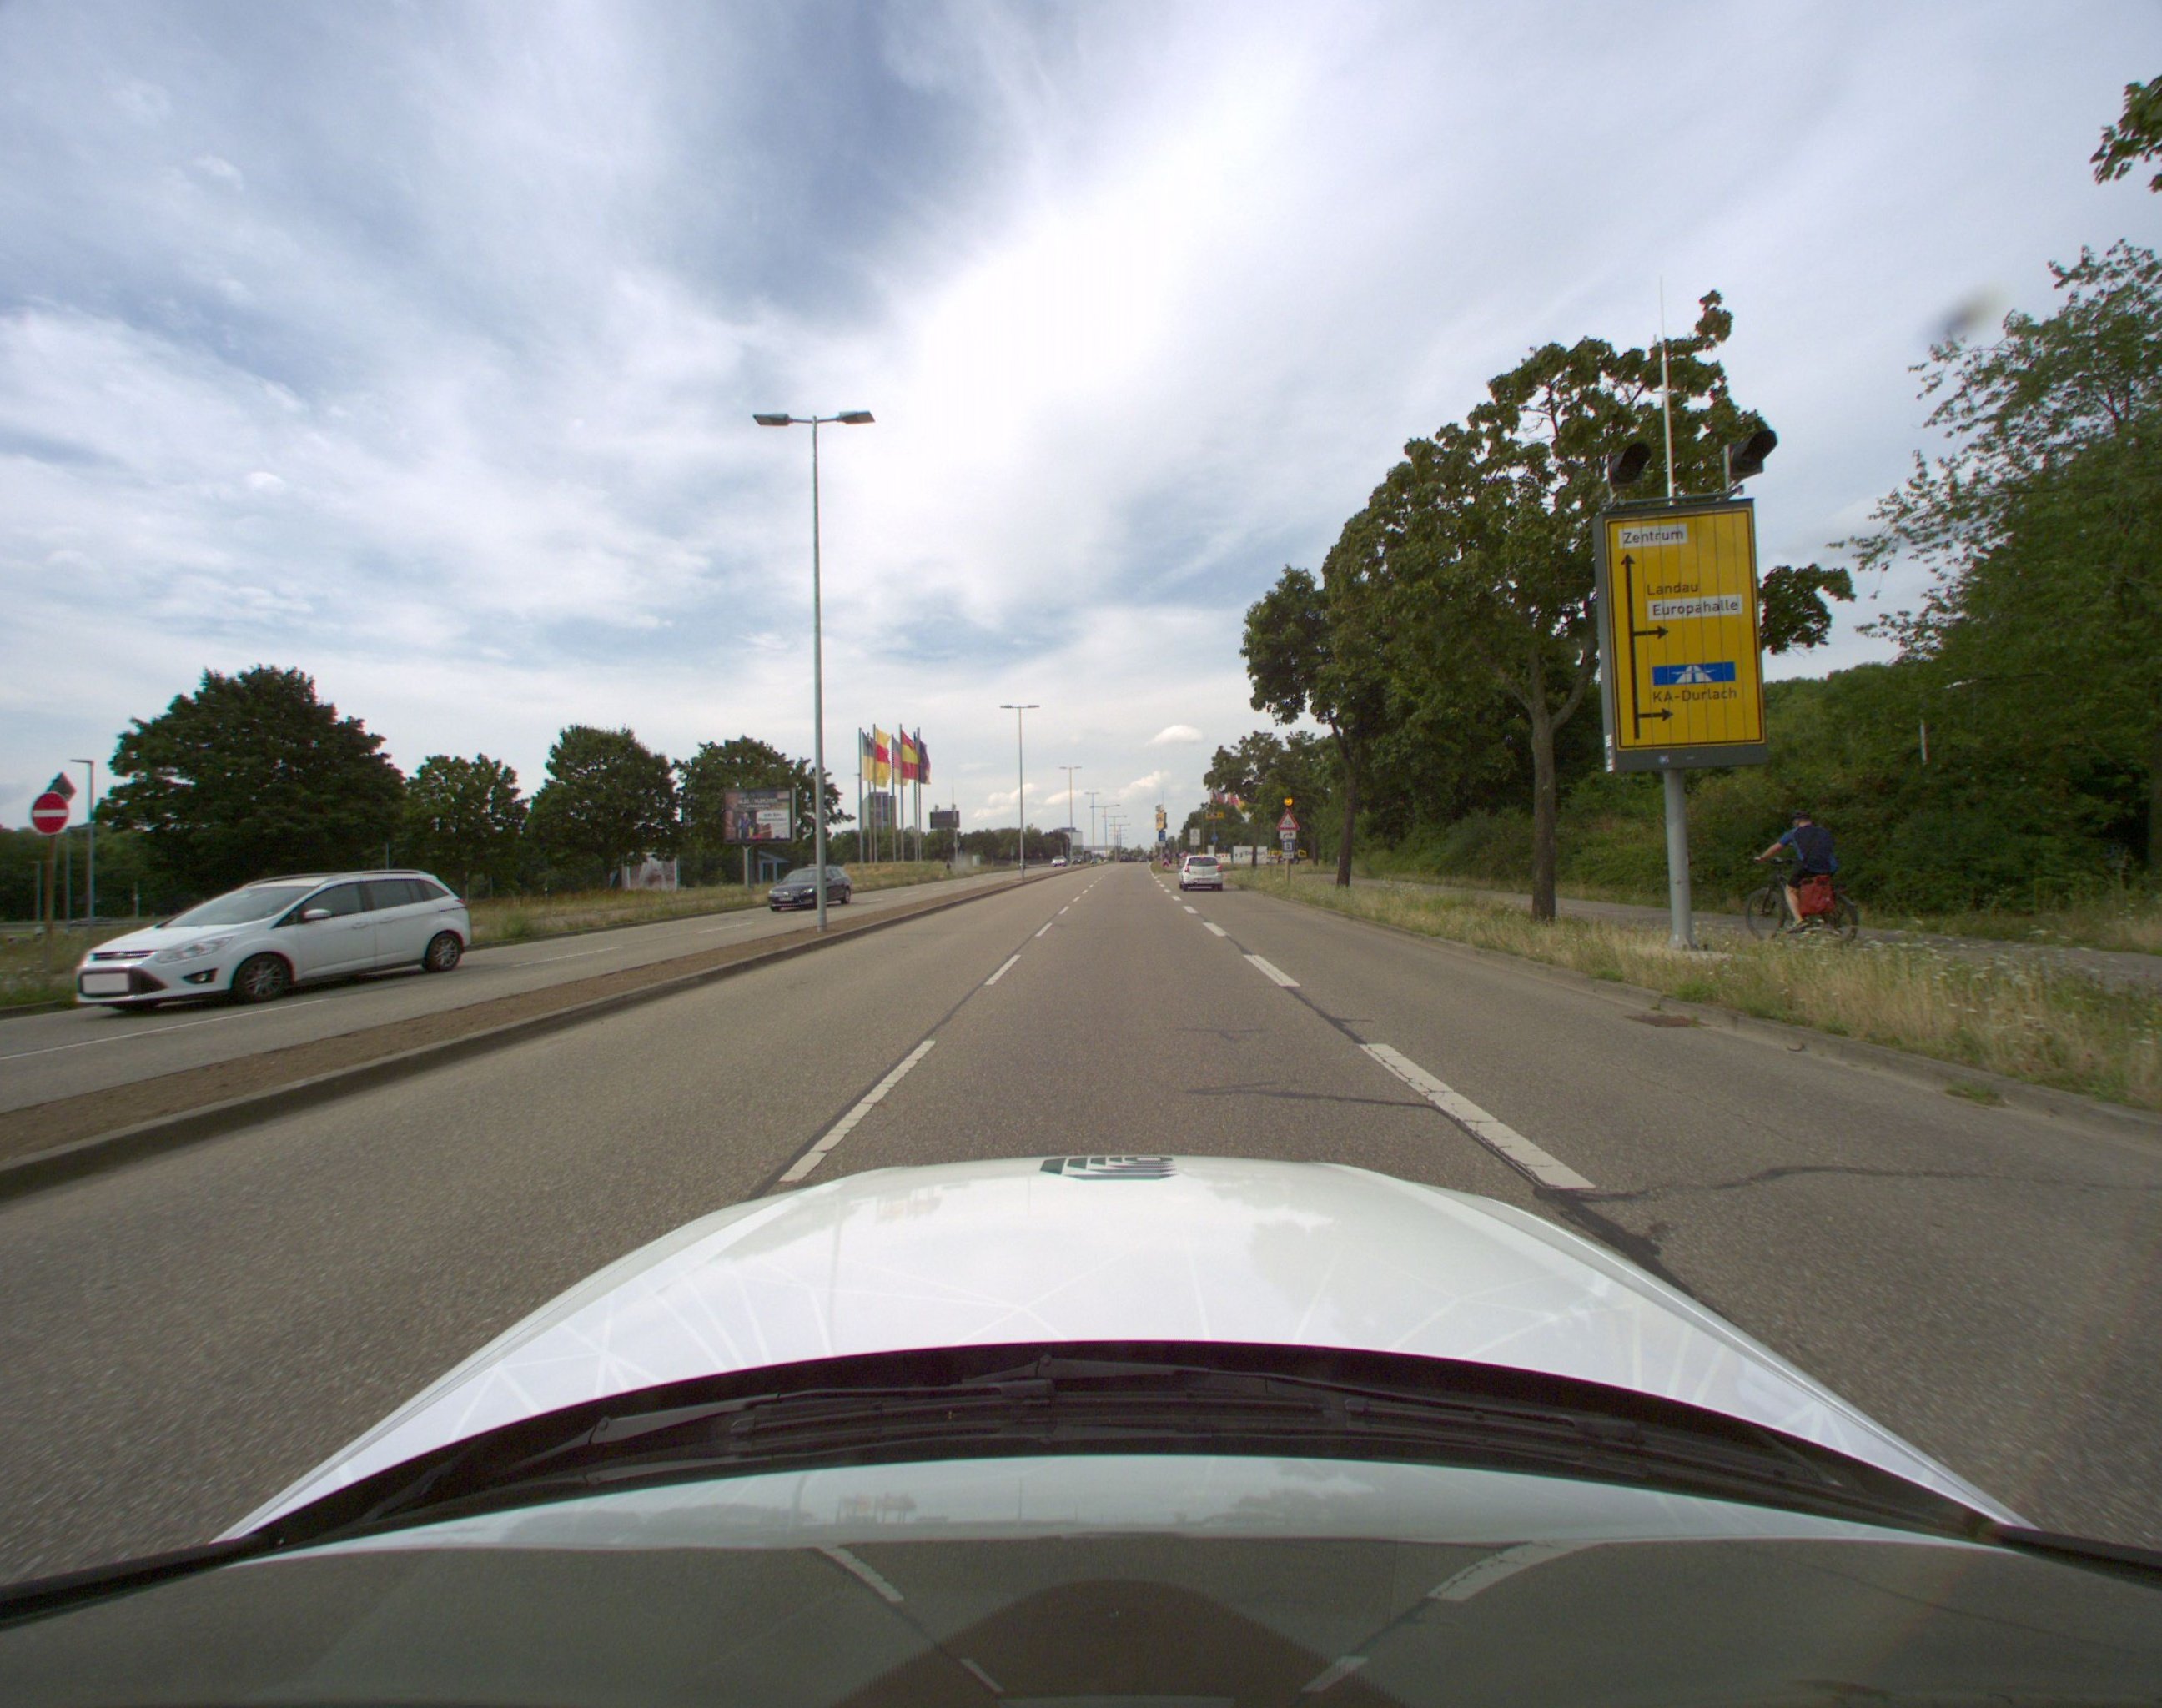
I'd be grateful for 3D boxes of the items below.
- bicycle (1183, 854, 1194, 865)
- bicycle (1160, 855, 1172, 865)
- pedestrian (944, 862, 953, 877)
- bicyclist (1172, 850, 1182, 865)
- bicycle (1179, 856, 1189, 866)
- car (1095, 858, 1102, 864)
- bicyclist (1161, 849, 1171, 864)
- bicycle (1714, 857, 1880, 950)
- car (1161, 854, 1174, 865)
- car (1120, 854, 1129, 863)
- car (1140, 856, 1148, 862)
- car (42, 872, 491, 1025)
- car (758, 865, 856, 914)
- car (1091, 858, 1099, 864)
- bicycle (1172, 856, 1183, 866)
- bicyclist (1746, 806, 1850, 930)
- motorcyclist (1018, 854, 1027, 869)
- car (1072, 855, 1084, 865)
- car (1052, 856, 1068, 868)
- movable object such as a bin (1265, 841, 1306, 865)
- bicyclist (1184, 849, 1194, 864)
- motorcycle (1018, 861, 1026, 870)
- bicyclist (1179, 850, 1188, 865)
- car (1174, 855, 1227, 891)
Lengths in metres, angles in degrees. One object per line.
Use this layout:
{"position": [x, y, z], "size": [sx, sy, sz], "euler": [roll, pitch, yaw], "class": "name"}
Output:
{"position": [11.131, 0.582, 84.550], "size": [0.620, 1.006, 1.781], "euler": [-3, -1, -10], "class": "bicycle"}
{"position": [8.805, 0.601, 84.470], "size": [0.620, 1.006, 2.096], "euler": [2, 0, -10], "class": "bicycle"}
{"position": [-15.825, 1.810, 97.120], "size": [0.862, 1.693, 0.679], "euler": [-3, 0, 2], "class": "pedestrian"}
{"position": [9.974, 0.391, 84.455], "size": [0.741, 1.518, 0.955], "euler": [0, -1, -9], "class": "bicyclist"}
{"position": [10.341, 0.710, 81.805], "size": [0.619, 1.006, 1.785], "euler": [-3, -1, -4], "class": "bicycle"}
{"position": [4.864, 1.986, 226.329], "size": [1.541, 1.578, 3.695], "euler": [-3, 0, 4], "class": "car"}
{"position": [8.799, 0.234, 84.497], "size": [0.741, 1.518, 0.955], "euler": [0, -1, -10], "class": "bicyclist"}
{"position": [9.898, 0.638, 11.374], "size": [0.571, 1.147, 1.983], "euler": [-3, 0, 2], "class": "bicycle"}
{"position": [13.813, 0.850, 130.567], "size": [1.725, 1.653, 4.114], "euler": [-1, -1, 0], "class": "car"}
{"position": [8.852, 0.929, 165.261], "size": [1.722, 1.653, 4.120], "euler": [-1, -1, 5], "class": "car"}
{"position": [15.462, 1.181, 200.141], "size": [1.723, 1.526, 4.118], "euler": [0, -1, 3], "class": "car"}
{"position": [-11.279, 1.164, 11.908], "size": [1.762, 1.653, 4.640], "euler": [-3, -1, 2], "class": "car"}
{"position": [-9.810, 1.222, 29.570], "size": [1.762, 1.532, 4.742], "euler": [-3, -1, 2], "class": "car"}
{"position": [3.547, 1.774, 204.008], "size": [1.755, 1.441, 4.182], "euler": [-3, 0, 4], "class": "car"}
{"position": [9.979, 0.723, 84.420], "size": [0.595, 1.037, 2.188], "euler": [2, 0, -9], "class": "bicycle"}
{"position": [9.900, 0.193, 11.282], "size": [0.649, 1.658, 0.876], "euler": [0, -1, 1], "class": "bicyclist"}
{"position": [-6.379, 0.842, 88.955], "size": [0.767, 1.588, 0.897], "euler": [-3, 0, 3], "class": "motorcyclist"}
{"position": [-0.660, 1.279, 171.172], "size": [1.838, 1.893, 5.513], "euler": [-4, -1, 6], "class": "car"}
{"position": [-3.181, 1.173, 124.313], "size": [1.839, 1.601, 4.566], "euler": [-2, 1, 4], "class": "car"}
{"position": [23.676, -0.134, 94.500], "size": [4.475, 2.689, 2.107], "euler": [0, -1, 9], "class": "movable object such as a bin"}
{"position": [11.172, 0.263, 84.511], "size": [0.741, 1.487, 0.955], "euler": [0, -1, -10], "class": "bicyclist"}
{"position": [-6.456, 1.277, 89.044], "size": [0.520, 0.967, 2.221], "euler": [-2, 0, 3], "class": "motorcycle"}
{"position": [10.315, 0.378, 81.819], "size": [0.738, 1.474, 0.805], "euler": [0, -1, -3], "class": "bicyclist"}
{"position": [5.218, 0.831, 35.988], "size": [1.840, 1.502, 4.001], "euler": [0, -1, 1], "class": "car"}
